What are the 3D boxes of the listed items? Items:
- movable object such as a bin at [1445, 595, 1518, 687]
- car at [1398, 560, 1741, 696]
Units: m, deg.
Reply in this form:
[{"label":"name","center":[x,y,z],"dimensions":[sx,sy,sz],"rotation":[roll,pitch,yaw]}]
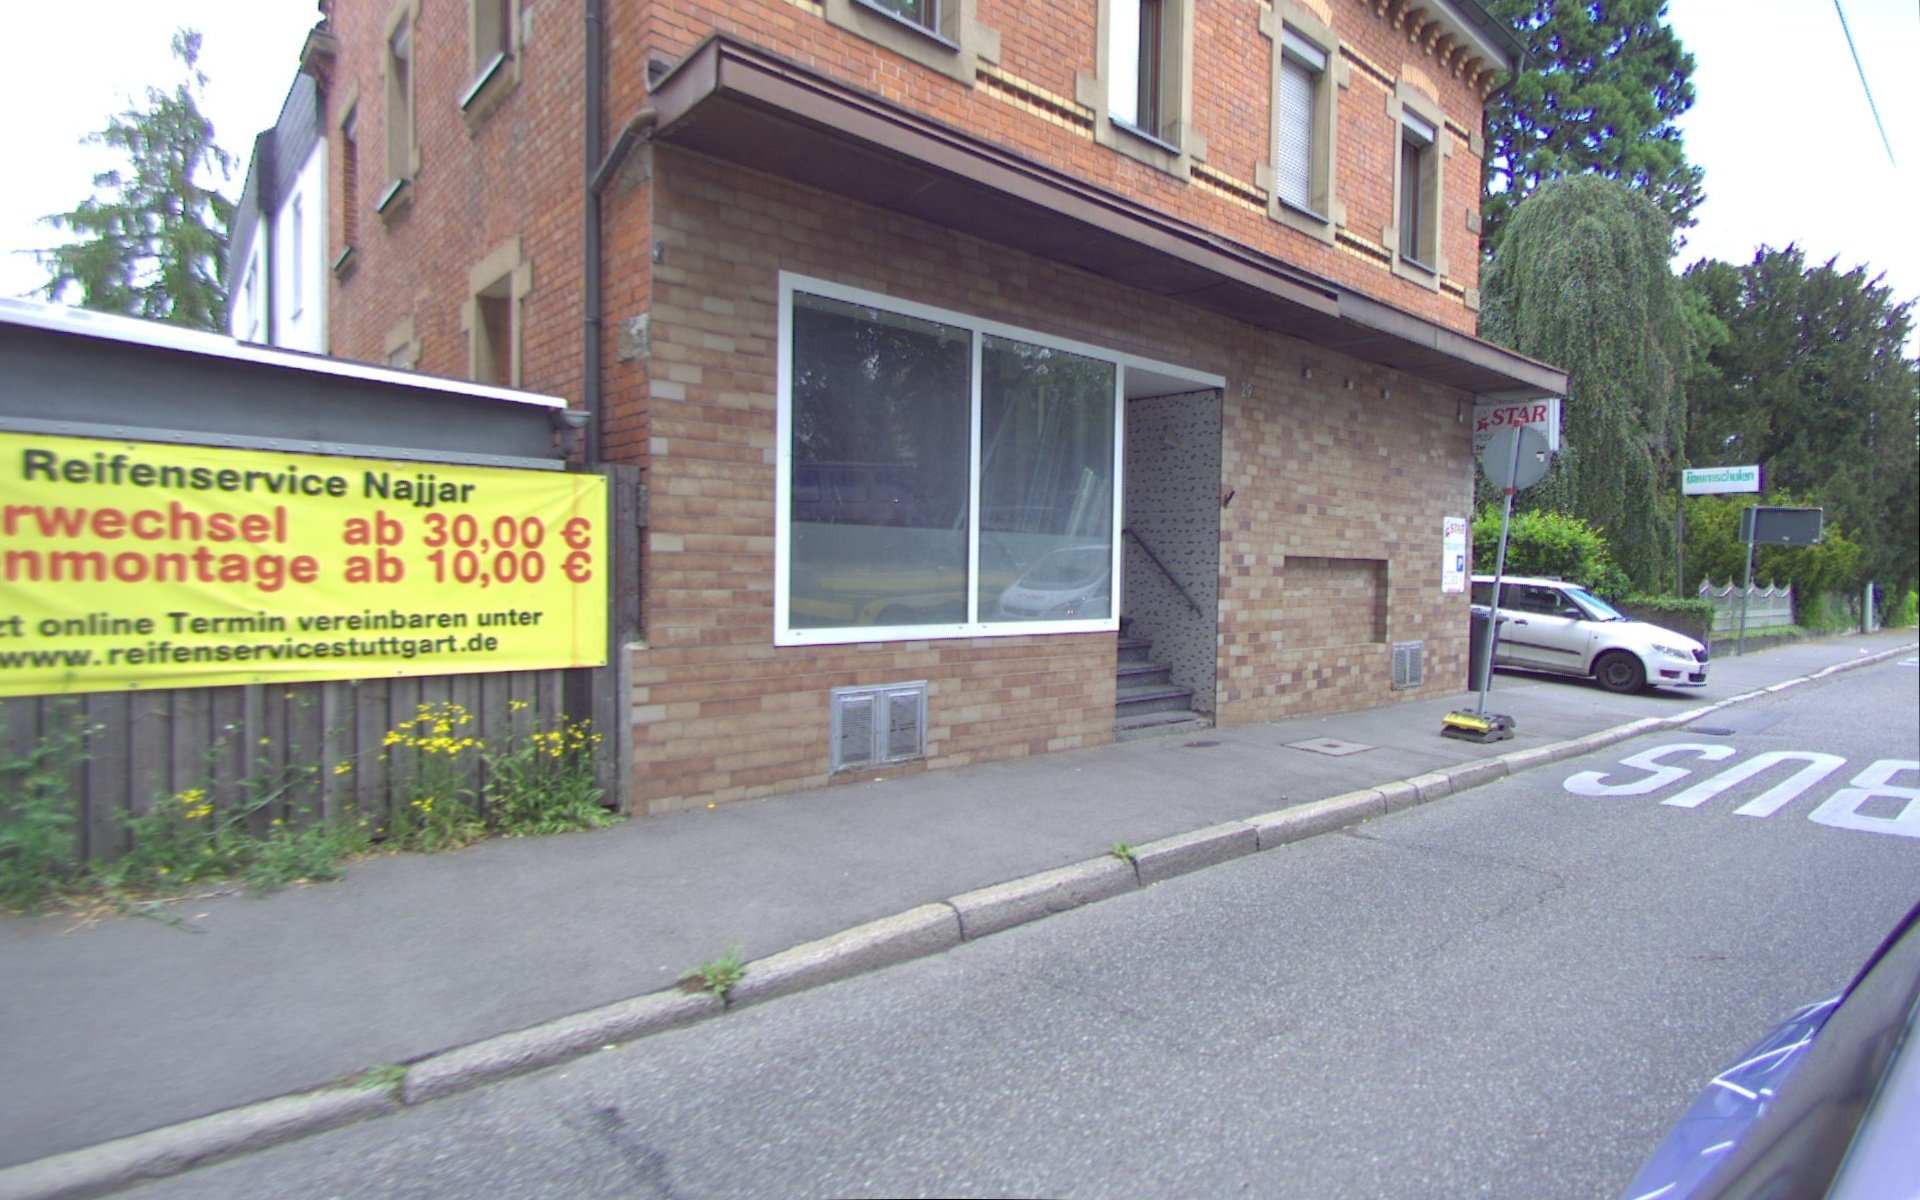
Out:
[{"label":"movable object such as a bin","center":[6.795,0.519,13.190],"dimensions":[0.612,1.114,0.608],"rotation":[-1,4,-41]},{"label":"car","center":[8.965,0.296,15.169],"dimensions":[1.574,1.487,4.037],"rotation":[-1,6,-42]}]
